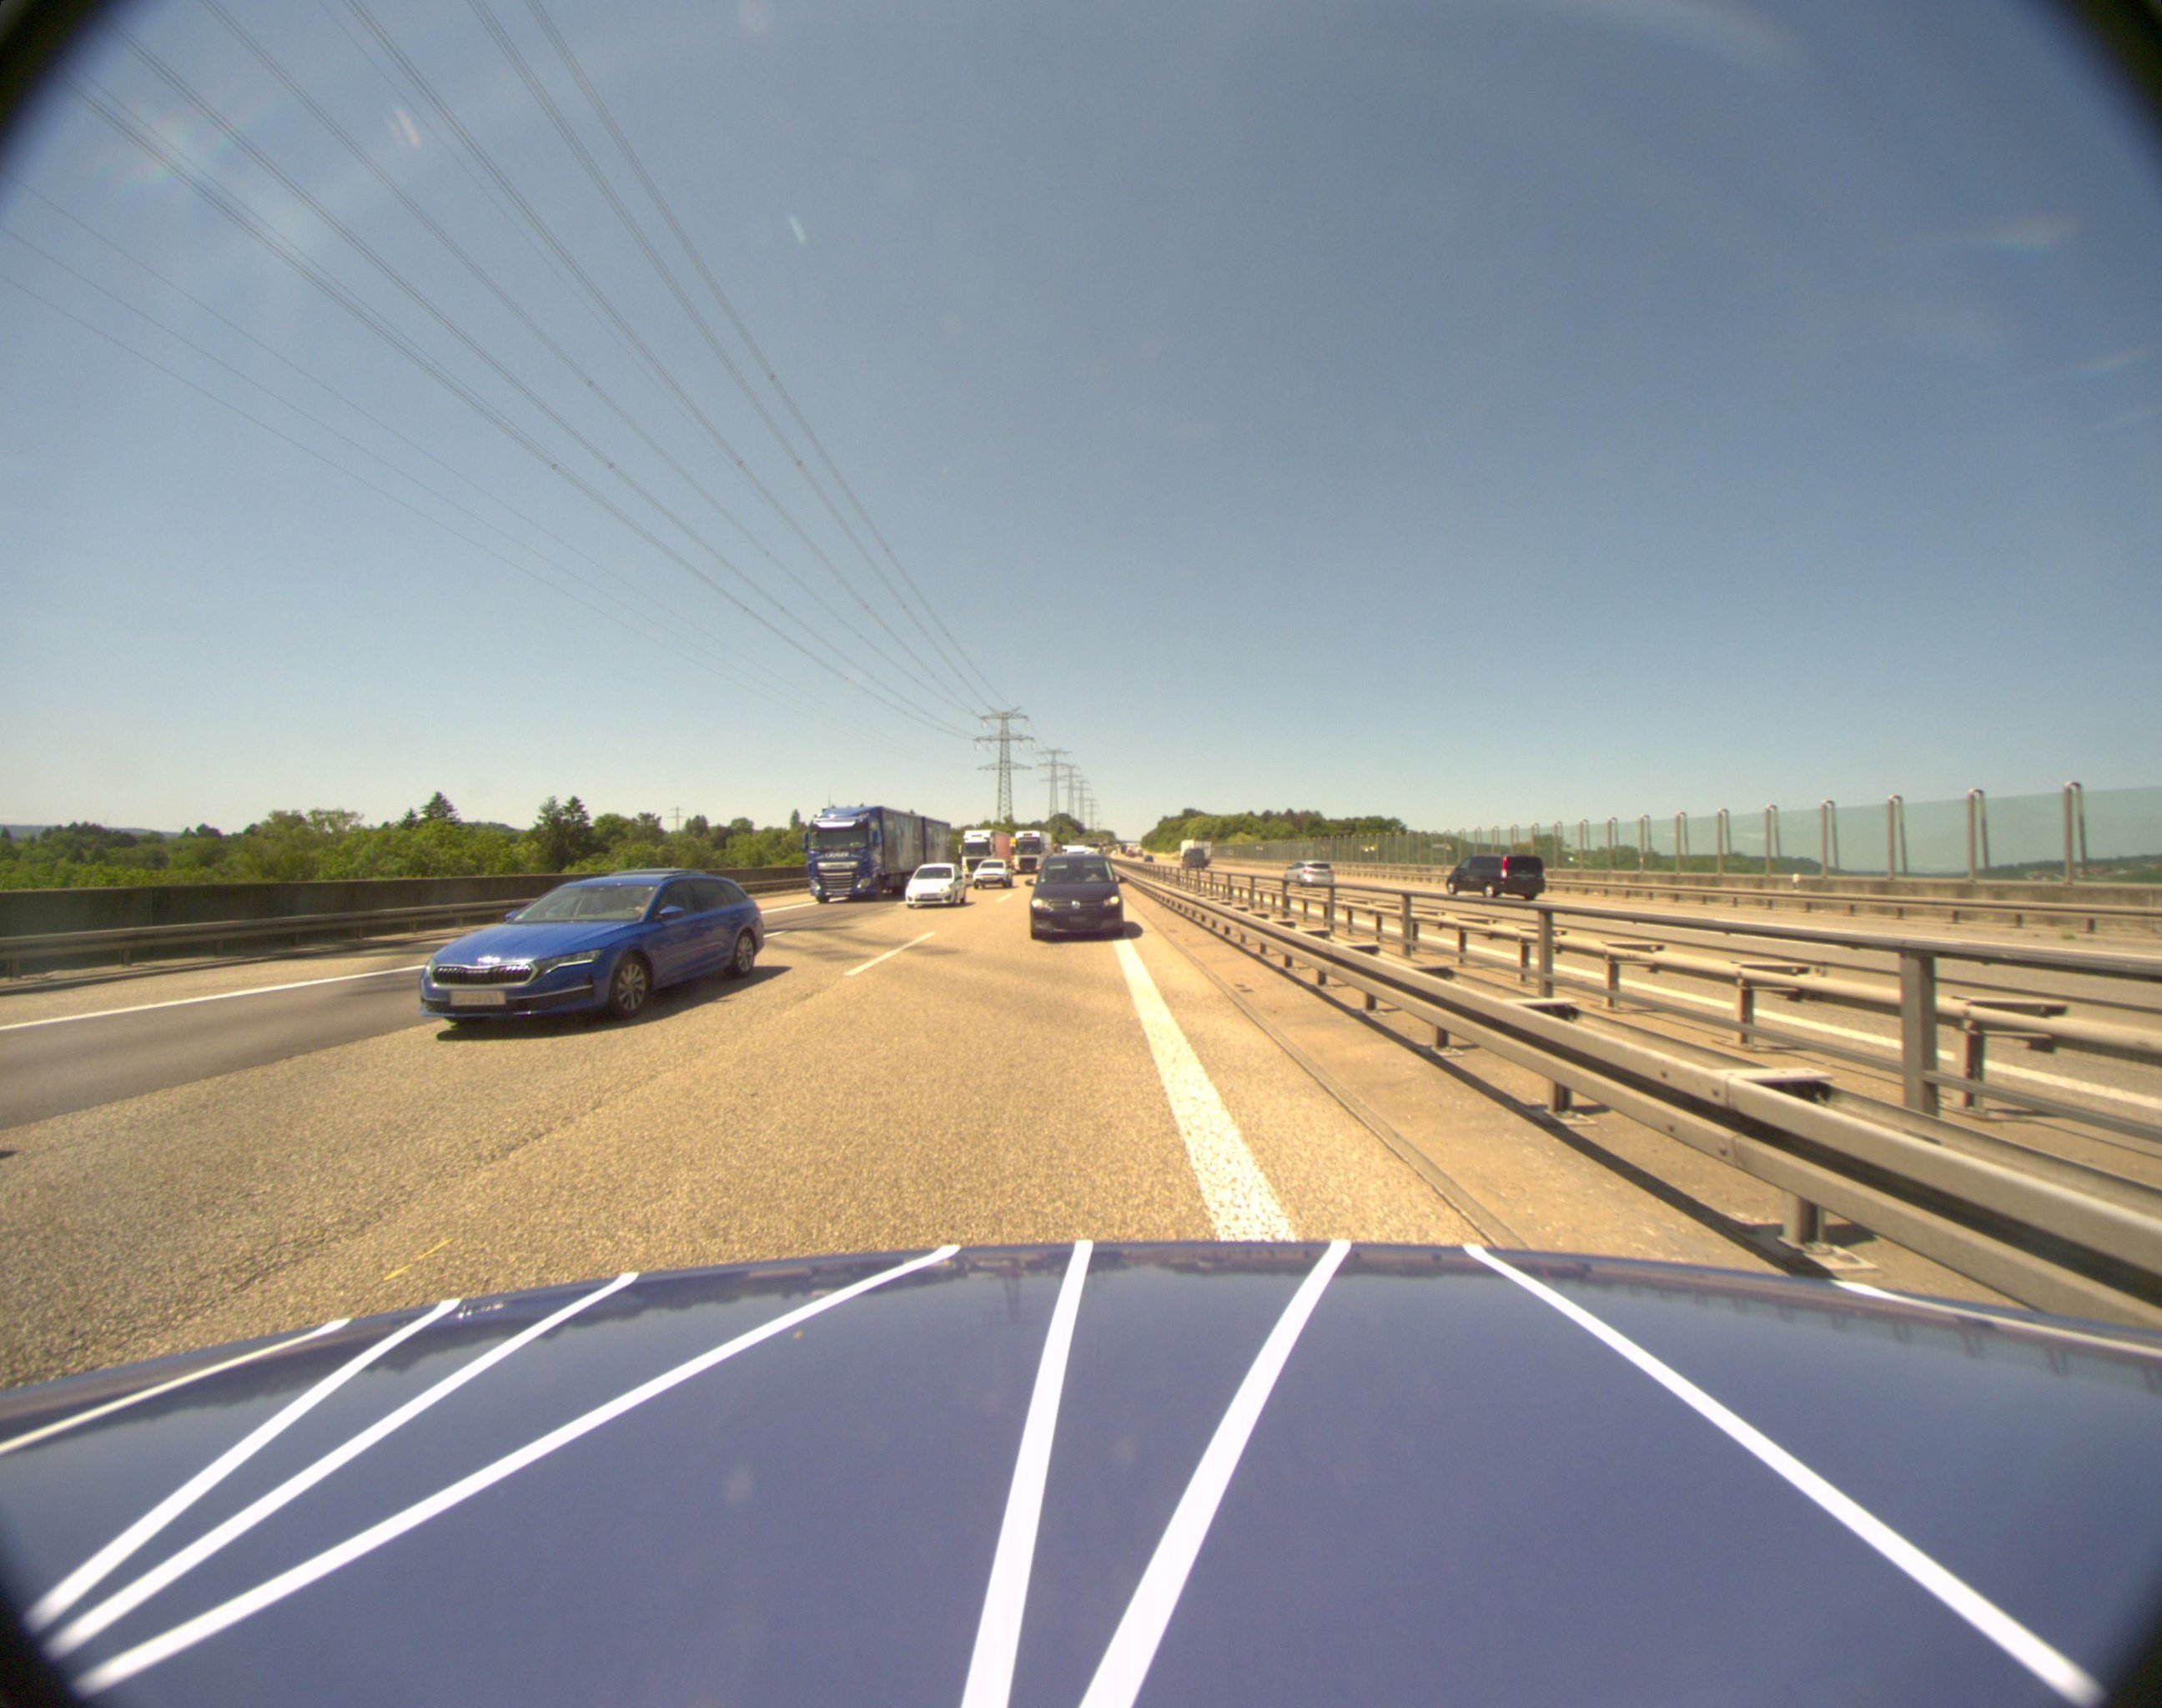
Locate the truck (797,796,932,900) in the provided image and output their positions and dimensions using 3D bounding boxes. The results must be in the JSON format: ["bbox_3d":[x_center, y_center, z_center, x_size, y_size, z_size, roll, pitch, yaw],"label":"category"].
[{"bbox_3d":[-9.442,-0.291,34.710,2.859,3.927,10.393,-2,1,1],"label":"truck"}]

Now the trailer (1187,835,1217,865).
[{"bbox_3d":[18.438,-0.661,116.397,2.913,4.282,13.661,1,1,2],"label":"trailer"}]

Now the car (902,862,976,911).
[{"bbox_3d":[-4.931,1.071,26.889,1.712,1.443,4.144,-2,1,1],"label":"car"}]

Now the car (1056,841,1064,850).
[{"bbox_3d":[-5.122,-2.082,184.050,1.704,2.116,3.999,2,1,1],"label":"car"}]

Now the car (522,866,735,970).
[{"bbox_3d":[-8.866,1.155,15.374,1.712,1.645,4.117,-2,1,1],"label":"car"}]

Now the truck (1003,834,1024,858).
[{"bbox_3d":[-8.702,-1.017,98.926,2.251,2.965,6.242,2,1,-1],"label":"truck"}]

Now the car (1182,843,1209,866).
[{"bbox_3d":[13.544,-0.023,90.088,1.999,2.567,6.649,1,1,-1],"label":"car"}]

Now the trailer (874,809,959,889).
[{"bbox_3d":[-9.334,-0.314,44.260,2.835,4.065,8.637,-2,1,1],"label":"trailer"}]

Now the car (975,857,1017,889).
[{"bbox_3d":[-4.591,0.991,41.396,1.712,1.501,4.144,-2,1,1],"label":"car"}]

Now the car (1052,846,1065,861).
[{"bbox_3d":[-3.377,-0.060,112.538,1.704,2.116,3.999,2,1,1],"label":"car"}]

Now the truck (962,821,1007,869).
[{"bbox_3d":[-8.426,-0.794,67.559,2.608,3.964,8.264,-2,1,1],"label":"truck"}]

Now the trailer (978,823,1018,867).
[{"bbox_3d":[-8.240,-0.917,76.248,2.608,4.094,9.085,-2,1,2],"label":"trailer"}]

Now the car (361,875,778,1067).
[{"bbox_3d":[-5.396,1.094,8.950,1.712,1.443,4.563,-2,1,1],"label":"car"}]

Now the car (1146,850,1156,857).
[{"bbox_3d":[14.242,-0.149,154.848,1.777,1.483,4.605,0,0,1],"label":"car"}]

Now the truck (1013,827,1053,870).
[{"bbox_3d":[-4.408,-0.550,72.123,2.849,3.804,8.264,-2,1,2],"label":"truck"}]

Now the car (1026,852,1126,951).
[{"bbox_3d":[-0.086,0.839,15.431,1.713,1.669,3.931,-2,1,0],"label":"car"}]

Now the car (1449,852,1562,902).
[{"bbox_3d":[17.870,0.895,32.313,1.962,1.894,4.949,1,1,-1],"label":"car"}]

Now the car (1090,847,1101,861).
[{"bbox_3d":[2.357,-0.020,123.523,1.704,2.116,3.999,-2,1,1],"label":"car"}]

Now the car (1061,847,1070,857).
[{"bbox_3d":[-3.419,-0.389,170.337,1.704,2.116,3.999,2,1,1],"label":"car"}]

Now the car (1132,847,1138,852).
[{"bbox_3d":[17.295,-1.445,243.394,1.844,1.812,4.746,0,1,-1],"label":"car"}]

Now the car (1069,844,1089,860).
[{"bbox_3d":[-0.171,-0.193,76.349,1.924,1.501,3.996,-2,1,1],"label":"car"}]

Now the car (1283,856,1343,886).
[{"bbox_3d":[12.877,0.912,42.432,1.998,1.535,4.385,1,1,1],"label":"car"}]

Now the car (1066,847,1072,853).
[{"bbox_3d":[-4.038,-1.357,250.006,1.704,2.116,3.999,2,1,1],"label":"car"}]

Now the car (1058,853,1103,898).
[{"bbox_3d":[-0.011,0.841,31.938,1.713,1.669,3.931,-2,1,0],"label":"car"}]
